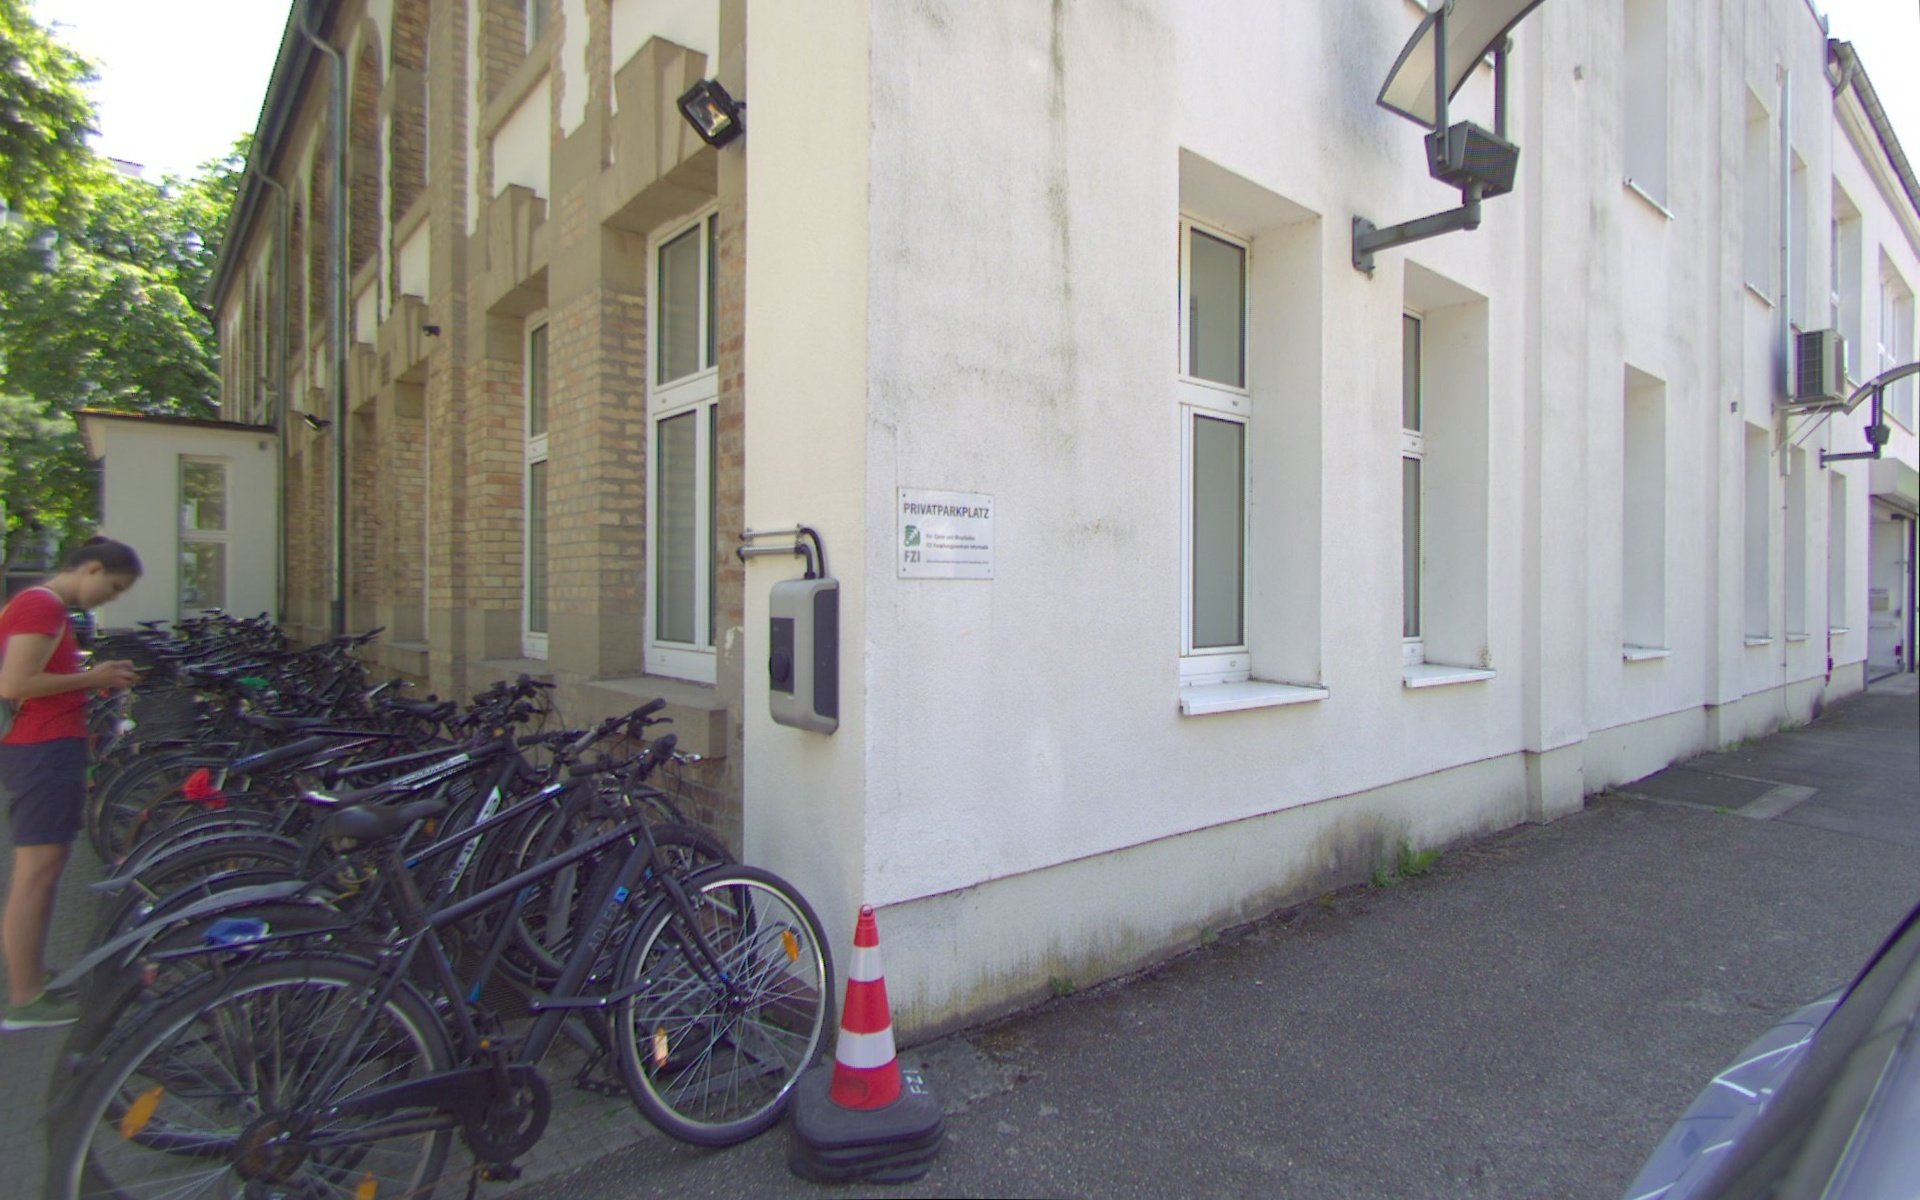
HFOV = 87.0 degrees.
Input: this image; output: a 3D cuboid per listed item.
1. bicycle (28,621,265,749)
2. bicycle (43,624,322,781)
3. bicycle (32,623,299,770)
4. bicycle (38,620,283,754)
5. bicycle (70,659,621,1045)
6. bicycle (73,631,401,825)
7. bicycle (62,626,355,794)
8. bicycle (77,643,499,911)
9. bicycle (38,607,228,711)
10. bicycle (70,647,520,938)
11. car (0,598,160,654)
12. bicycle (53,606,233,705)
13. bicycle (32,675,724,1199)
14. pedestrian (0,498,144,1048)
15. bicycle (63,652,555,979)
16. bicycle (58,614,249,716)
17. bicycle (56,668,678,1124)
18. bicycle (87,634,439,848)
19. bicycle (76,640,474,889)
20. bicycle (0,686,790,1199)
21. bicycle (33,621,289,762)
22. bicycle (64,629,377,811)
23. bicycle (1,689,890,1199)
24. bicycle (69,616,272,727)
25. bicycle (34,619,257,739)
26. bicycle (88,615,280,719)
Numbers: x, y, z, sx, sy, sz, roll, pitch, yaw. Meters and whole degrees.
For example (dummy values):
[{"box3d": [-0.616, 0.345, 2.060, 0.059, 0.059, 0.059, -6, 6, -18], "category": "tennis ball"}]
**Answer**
[{"box3d": [-8.032, 0.796, 10.073, 1.794, 1.115, 0.406, -1, 1, -40], "category": "bicycle"}, {"box3d": [-6.387, 0.794, 8.402, 1.794, 1.115, 0.406, -1, 1, -40], "category": "bicycle"}, {"box3d": [-6.870, 0.789, 8.839, 1.794, 1.115, 0.406, -1, 1, -40], "category": "bicycle"}, {"box3d": [-7.553, 0.777, 9.649, 1.794, 1.115, 0.406, -1, 1, -40], "category": "bicycle"}, {"box3d": [-2.292, 0.853, 3.982, 1.794, 1.115, 0.406, -1, 1, -40], "category": "bicycle"}, {"box3d": [-4.905, 0.812, 6.972, 1.794, 1.115, 0.406, -1, 1, -40], "category": "bicycle"}, {"box3d": [-5.798, 0.800, 7.901, 1.794, 1.115, 0.406, -1, 1, -40], "category": "bicycle"}, {"box3d": [-3.434, 0.834, 5.317, 1.794, 1.115, 0.406, -1, 1, -40], "category": "bicycle"}, {"box3d": [-10.466, 0.715, 12.873, 1.795, 1.115, 0.406, -5, 3, -40], "category": "bicycle"}, {"box3d": [-3.161, 0.839, 4.970, 1.794, 1.115, 0.406, -1, 1, -40], "category": "bicycle"}, {"box3d": [-24.564, 0.668, 27.973, 1.635, 1.359, 3.503, 0, 1, 23], "category": "car"}, {"box3d": [-10.856, 0.705, 13.513, 1.795, 1.115, 0.406, -5, 3, -40], "category": "bicycle"}, {"box3d": [-1.651, 0.865, 3.149, 1.794, 1.115, 0.406, -1, 1, -40], "category": "bicycle"}, {"box3d": [-3.253, 0.552, 3.479, 0.677, 1.770, 0.552, -1, 1, -39], "category": "pedestrian"}, {"box3d": [-2.797, 0.846, 4.526, 1.794, 1.115, 0.406, -1, 1, -40], "category": "bicycle"}, {"box3d": [-9.808, 0.763, 12.378, 1.794, 1.115, 0.406, -1, 1, -40], "category": "bicycle"}, {"box3d": [-1.911, 0.860, 3.504, 1.794, 1.115, 0.406, -1, 1, -40], "category": "bicycle"}, {"box3d": [-4.346, 0.819, 6.429, 1.794, 1.115, 0.406, -1, 1, -40], "category": "bicycle"}, {"box3d": [-3.734, 0.830, 5.654, 1.794, 1.115, 0.406, -1, 1, -40], "category": "bicycle"}, {"box3d": [-1.347, 0.871, 2.729, 1.794, 1.115, 0.406, -1, 1, -40], "category": "bicycle"}, {"box3d": [-7.229, 0.783, 9.238, 1.794, 1.115, 0.406, -1, 1, -40], "category": "bicycle"}, {"box3d": [-5.315, 0.807, 7.376, 1.794, 1.115, 0.406, -1, 1, -40], "category": "bicycle"}, {"box3d": [-1.011, 0.852, 2.398, 1.794, 1.115, 0.406, -1, 1, -40], "category": "bicycle"}, {"box3d": [-8.929, 0.774, 11.511, 1.794, 1.115, 0.406, -1, 1, -40], "category": "bicycle"}, {"box3d": [-8.520, 0.788, 10.659, 1.794, 1.115, 0.406, -1, 1, -40], "category": "bicycle"}, {"box3d": [-9.227, 0.765, 12.093, 1.794, 1.115, 0.406, -1, 1, -40], "category": "bicycle"}]
